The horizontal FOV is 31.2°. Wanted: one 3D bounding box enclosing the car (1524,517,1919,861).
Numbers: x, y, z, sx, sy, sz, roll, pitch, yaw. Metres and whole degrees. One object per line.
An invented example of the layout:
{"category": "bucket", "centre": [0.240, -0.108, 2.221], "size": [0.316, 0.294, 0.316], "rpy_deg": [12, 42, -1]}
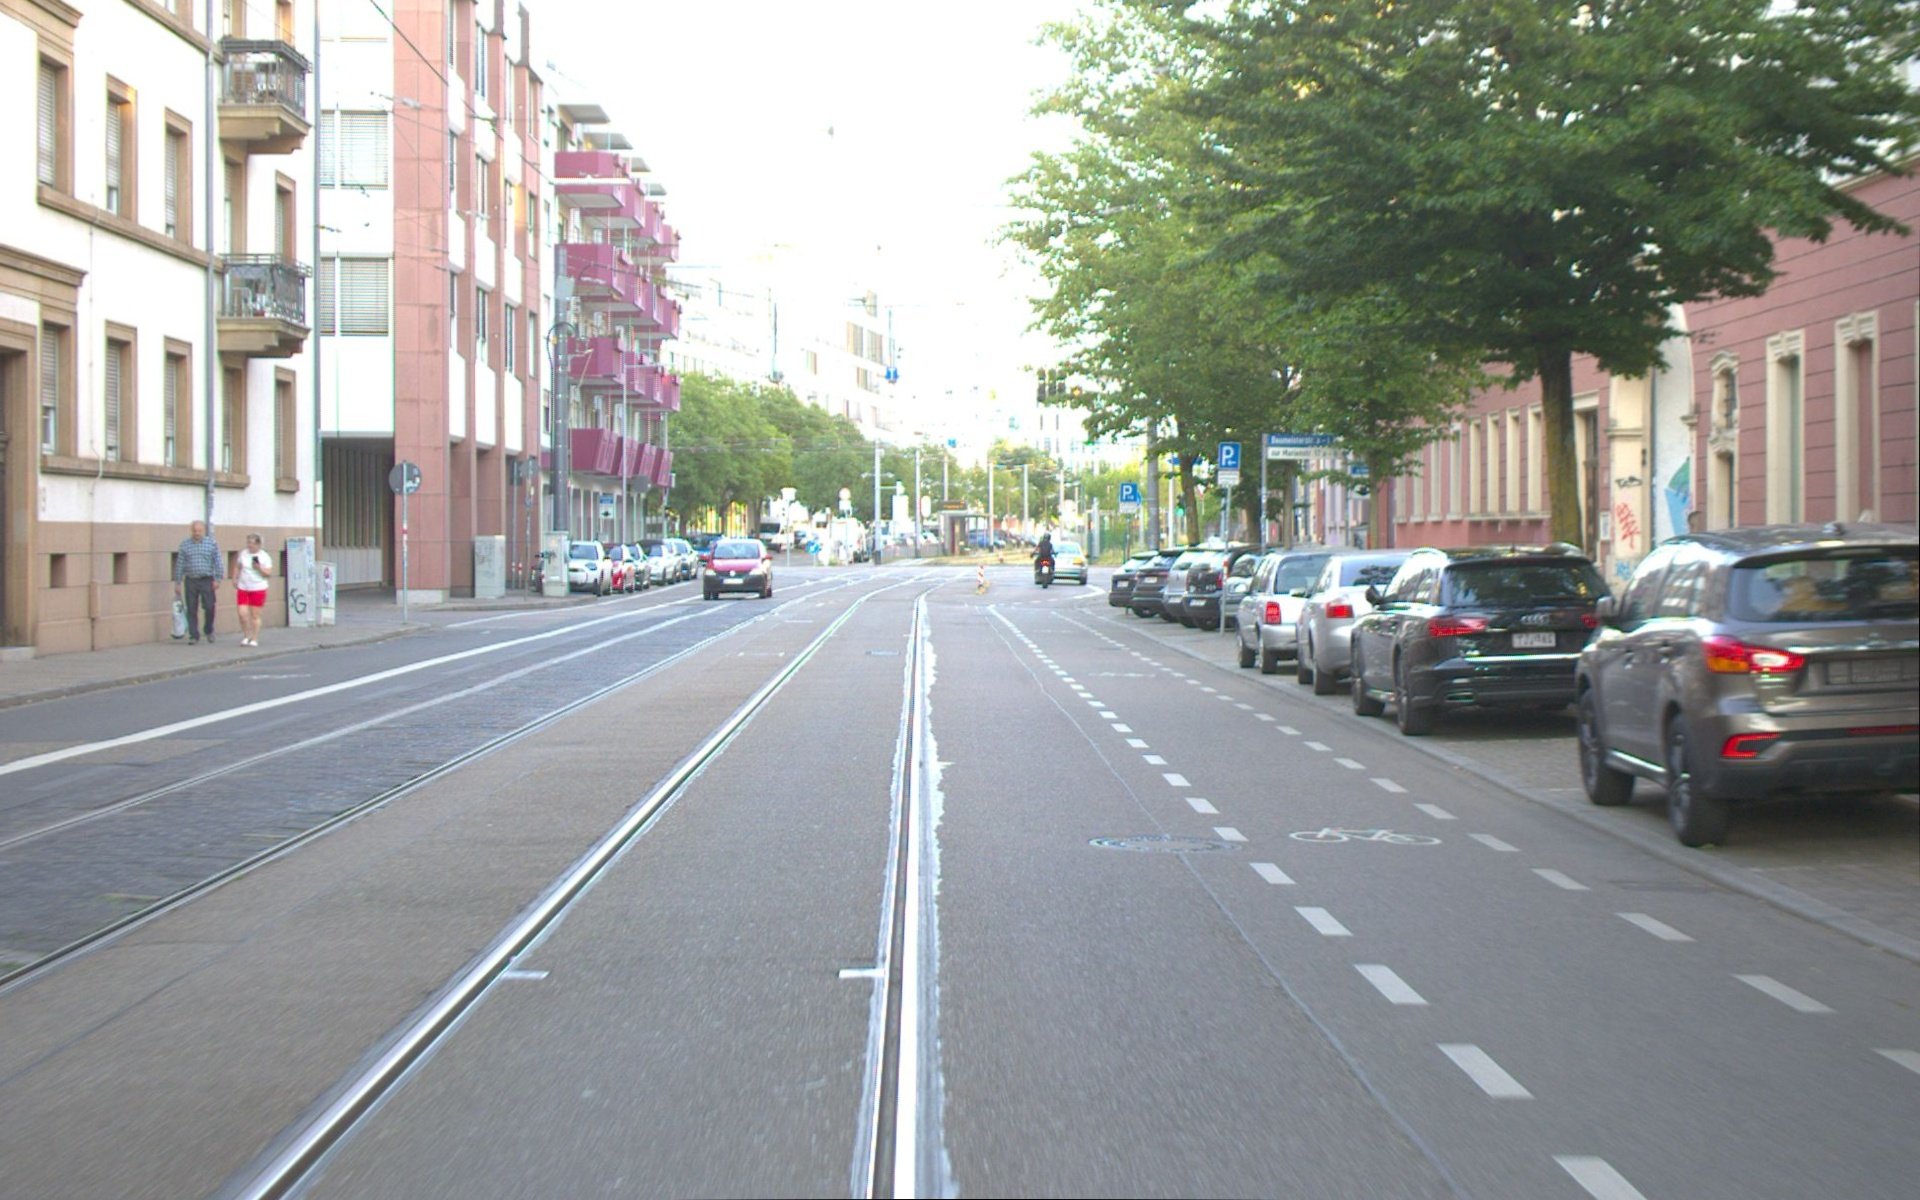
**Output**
{"category": "car", "centre": [4.450, 0.385, 18.828], "size": [1.879, 1.612, 4.262], "rpy_deg": [-2, 1, -1]}

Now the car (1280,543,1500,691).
{"category": "car", "centre": [4.373, 0.125, 35.547], "size": [1.780, 1.376, 4.691], "rpy_deg": [-2, 1, 2]}

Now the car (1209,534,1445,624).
{"category": "car", "centre": [6.022, -0.341, 56.486], "size": [3.481, 1.424, 1.621], "rpy_deg": [-1, -1, -19]}

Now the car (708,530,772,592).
{"category": "car", "centre": [-5.720, -1.025, 89.595], "size": [1.559, 1.553, 3.755], "rpy_deg": [-1, 1, -2]}

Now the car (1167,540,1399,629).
{"category": "car", "centre": [5.510, -0.281, 58.622], "size": [3.554, 1.424, 1.669], "rpy_deg": [-1, 1, -25]}

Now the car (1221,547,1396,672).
{"category": "car", "centre": [4.118, 0.081, 41.092], "size": [1.619, 1.376, 3.776], "rpy_deg": [-2, 1, -1]}

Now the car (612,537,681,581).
{"category": "car", "centre": [-10.508, -1.376, 115.385], "size": [1.691, 1.409, 4.677], "rpy_deg": [2, 1, 2]}

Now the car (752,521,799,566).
{"category": "car", "centre": [-12.883, -3.960, 240.468], "size": [2.202, 3.141, 6.141], "rpy_deg": [0, 1, 7]}

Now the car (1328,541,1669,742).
{"category": "car", "centre": [4.320, 0.273, 28.379], "size": [1.993, 1.484, 5.036], "rpy_deg": [-1, 1, 0]}

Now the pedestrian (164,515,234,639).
{"category": "pedestrian", "centre": [-10.563, -0.323, 47.722], "size": [0.795, 1.695, 0.981], "rpy_deg": [0, 1, -3]}

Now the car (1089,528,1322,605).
{"category": "car", "centre": [5.184, -0.719, 72.408], "size": [4.604, 1.452, 1.711], "rpy_deg": [-2, 1, -25]}

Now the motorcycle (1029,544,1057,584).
{"category": "motorcycle", "centre": [2.625, -1.152, 109.033], "size": [0.828, 1.236, 2.491], "rpy_deg": [0, 1, 3]}

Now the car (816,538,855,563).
{"category": "car", "centre": [-7.156, -2.853, 198.025], "size": [1.683, 1.434, 4.125], "rpy_deg": [0, 1, 7]}

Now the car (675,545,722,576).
{"category": "car", "centre": [-14.297, -2.179, 188.164], "size": [1.683, 1.694, 4.238], "rpy_deg": [0, 1, 8]}

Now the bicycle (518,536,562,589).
{"category": "bicycle", "centre": [-11.056, -0.997, 90.590], "size": [0.609, 1.373, 2.258], "rpy_deg": [0, 1, 7]}

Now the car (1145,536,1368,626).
{"category": "car", "centre": [5.286, -0.361, 61.346], "size": [3.554, 1.511, 1.744], "rpy_deg": [-1, 1, -25]}

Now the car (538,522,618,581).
{"category": "car", "centre": [-10.541, -1.345, 95.110], "size": [1.717, 1.550, 4.204], "rpy_deg": [1, 1, 0]}

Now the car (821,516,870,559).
{"category": "car", "centre": [-6.772, -3.705, 203.759], "size": [2.461, 2.474, 5.808], "rpy_deg": [0, 1, 3]}

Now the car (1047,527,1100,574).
{"category": "car", "centre": [3.914, -1.724, 118.846], "size": [1.717, 1.550, 4.204], "rpy_deg": [1, 1, 1]}

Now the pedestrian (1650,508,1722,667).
{"category": "pedestrian", "centre": [8.360, -0.148, 39.610], "size": [0.680, 1.810, 0.600], "rpy_deg": [0, 1, 0]}

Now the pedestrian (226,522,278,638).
{"category": "pedestrian", "centre": [-9.834, -0.281, 47.762], "size": [0.590, 1.604, 0.811], "rpy_deg": [0, 1, -3]}

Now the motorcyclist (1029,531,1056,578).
{"category": "motorcyclist", "centre": [2.628, -1.448, 109.071], "size": [0.828, 1.468, 1.207], "rpy_deg": [0, 1, 3]}

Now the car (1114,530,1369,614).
{"category": "car", "centre": [5.430, -0.562, 66.449], "size": [4.443, 1.511, 2.064], "rpy_deg": [-1, 1, -23]}
